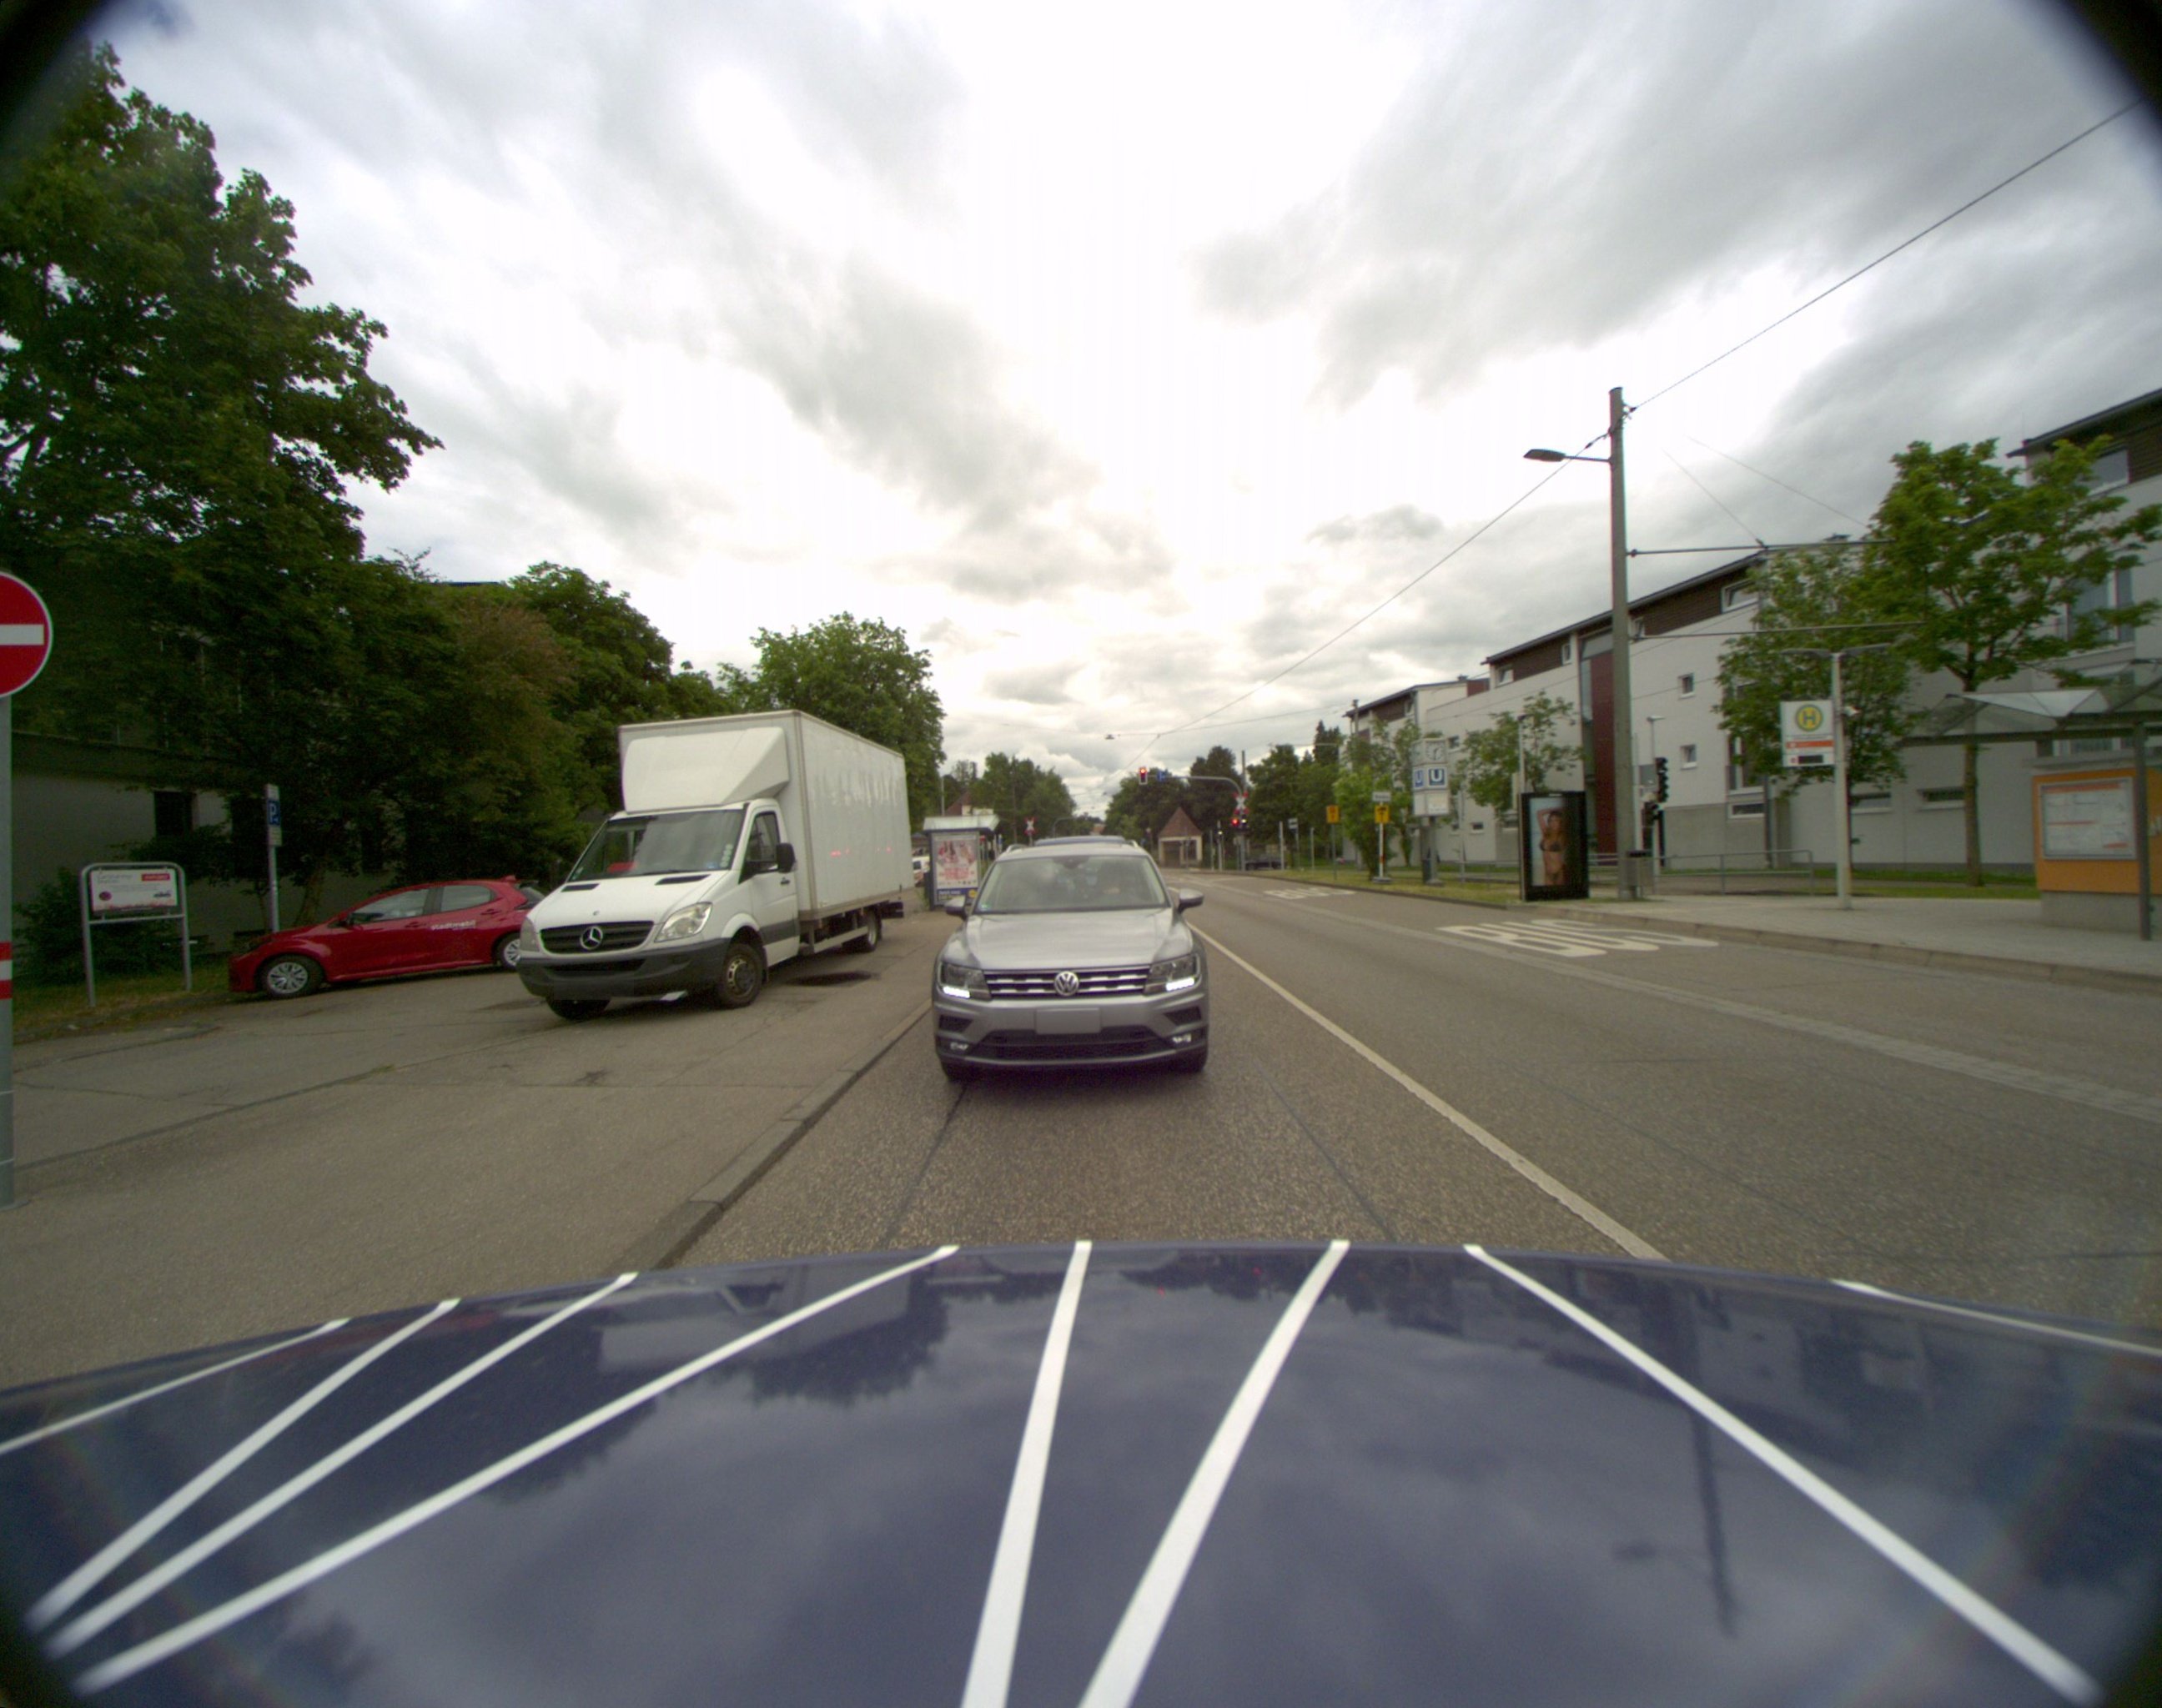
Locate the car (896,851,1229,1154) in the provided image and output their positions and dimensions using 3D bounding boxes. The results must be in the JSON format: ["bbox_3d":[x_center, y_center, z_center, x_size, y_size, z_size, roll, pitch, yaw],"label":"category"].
[{"bbox_3d":[-0.076,0.829,6.446,1.811,1.638,4.330,-2,0,1],"label":"car"}]

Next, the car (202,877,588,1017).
[{"bbox_3d":[-9.985,1.264,11.506,3.902,1.475,1.680,-5,2,-24],"label":"car"}]

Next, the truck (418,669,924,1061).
[{"bbox_3d":[-4.461,0.051,10.677,2.541,3.407,7.775,-2,1,2],"label":"truck"}]

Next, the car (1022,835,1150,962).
[{"bbox_3d":[0.099,0.658,13.403,1.849,1.850,4.000,-2,0,1],"label":"car"}]

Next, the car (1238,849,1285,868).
[{"bbox_3d":[17.517,0.417,73.943,3.998,1.696,1.928,-2,1,-3],"label":"car"}]

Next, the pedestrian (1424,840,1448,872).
[{"bbox_3d":[18.268,0.099,39.140,0.782,1.586,0.780,-2,1,-8],"label":"pedestrian"}]

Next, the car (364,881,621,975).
[{"bbox_3d":[-12.006,1.445,15.869,4.005,1.402,1.521,-5,2,-31],"label":"car"}]
